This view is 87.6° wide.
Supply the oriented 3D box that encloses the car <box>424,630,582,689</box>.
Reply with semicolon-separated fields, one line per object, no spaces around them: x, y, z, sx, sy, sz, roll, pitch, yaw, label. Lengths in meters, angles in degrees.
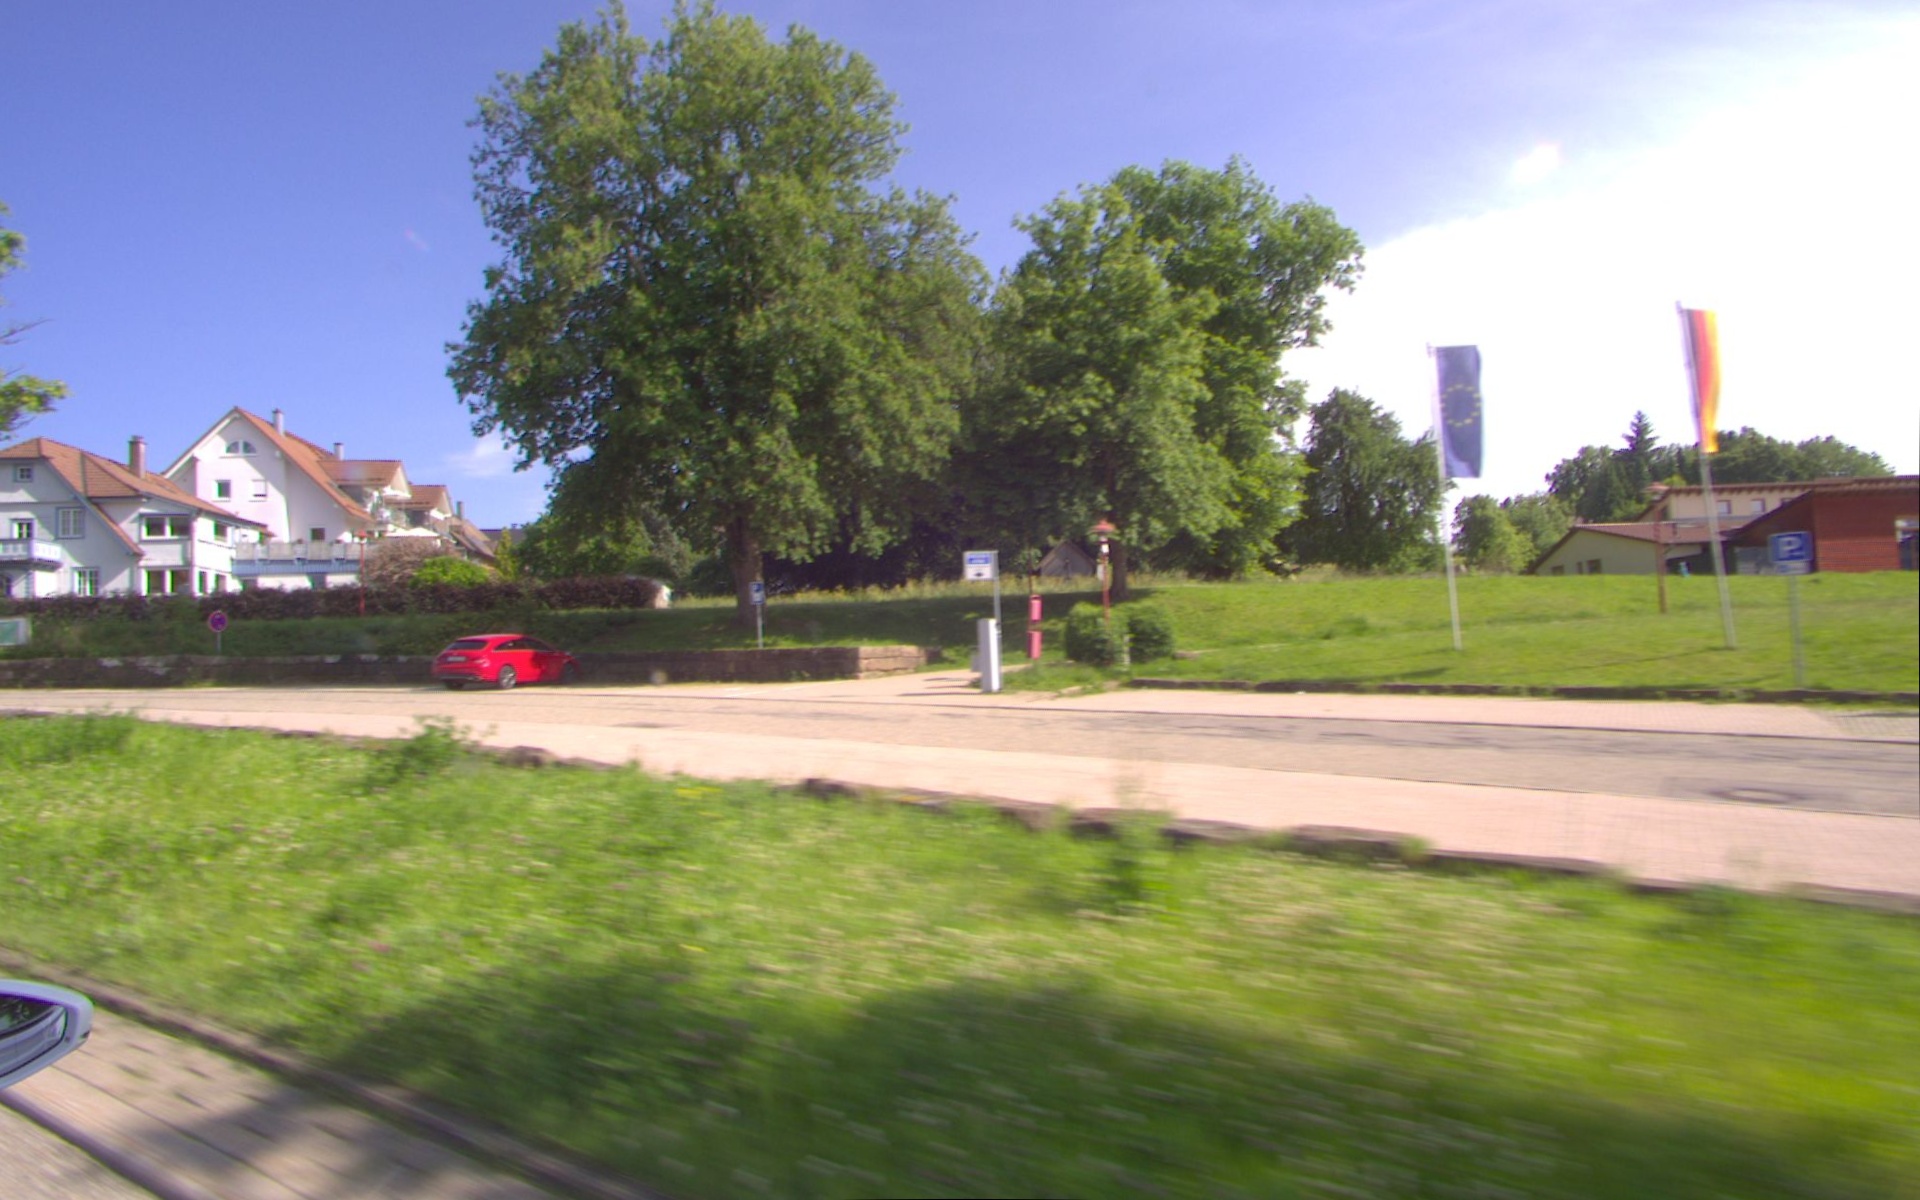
-12.325;1.577;27.322;1.670;1.447;4.265;-2;-2;13;car
